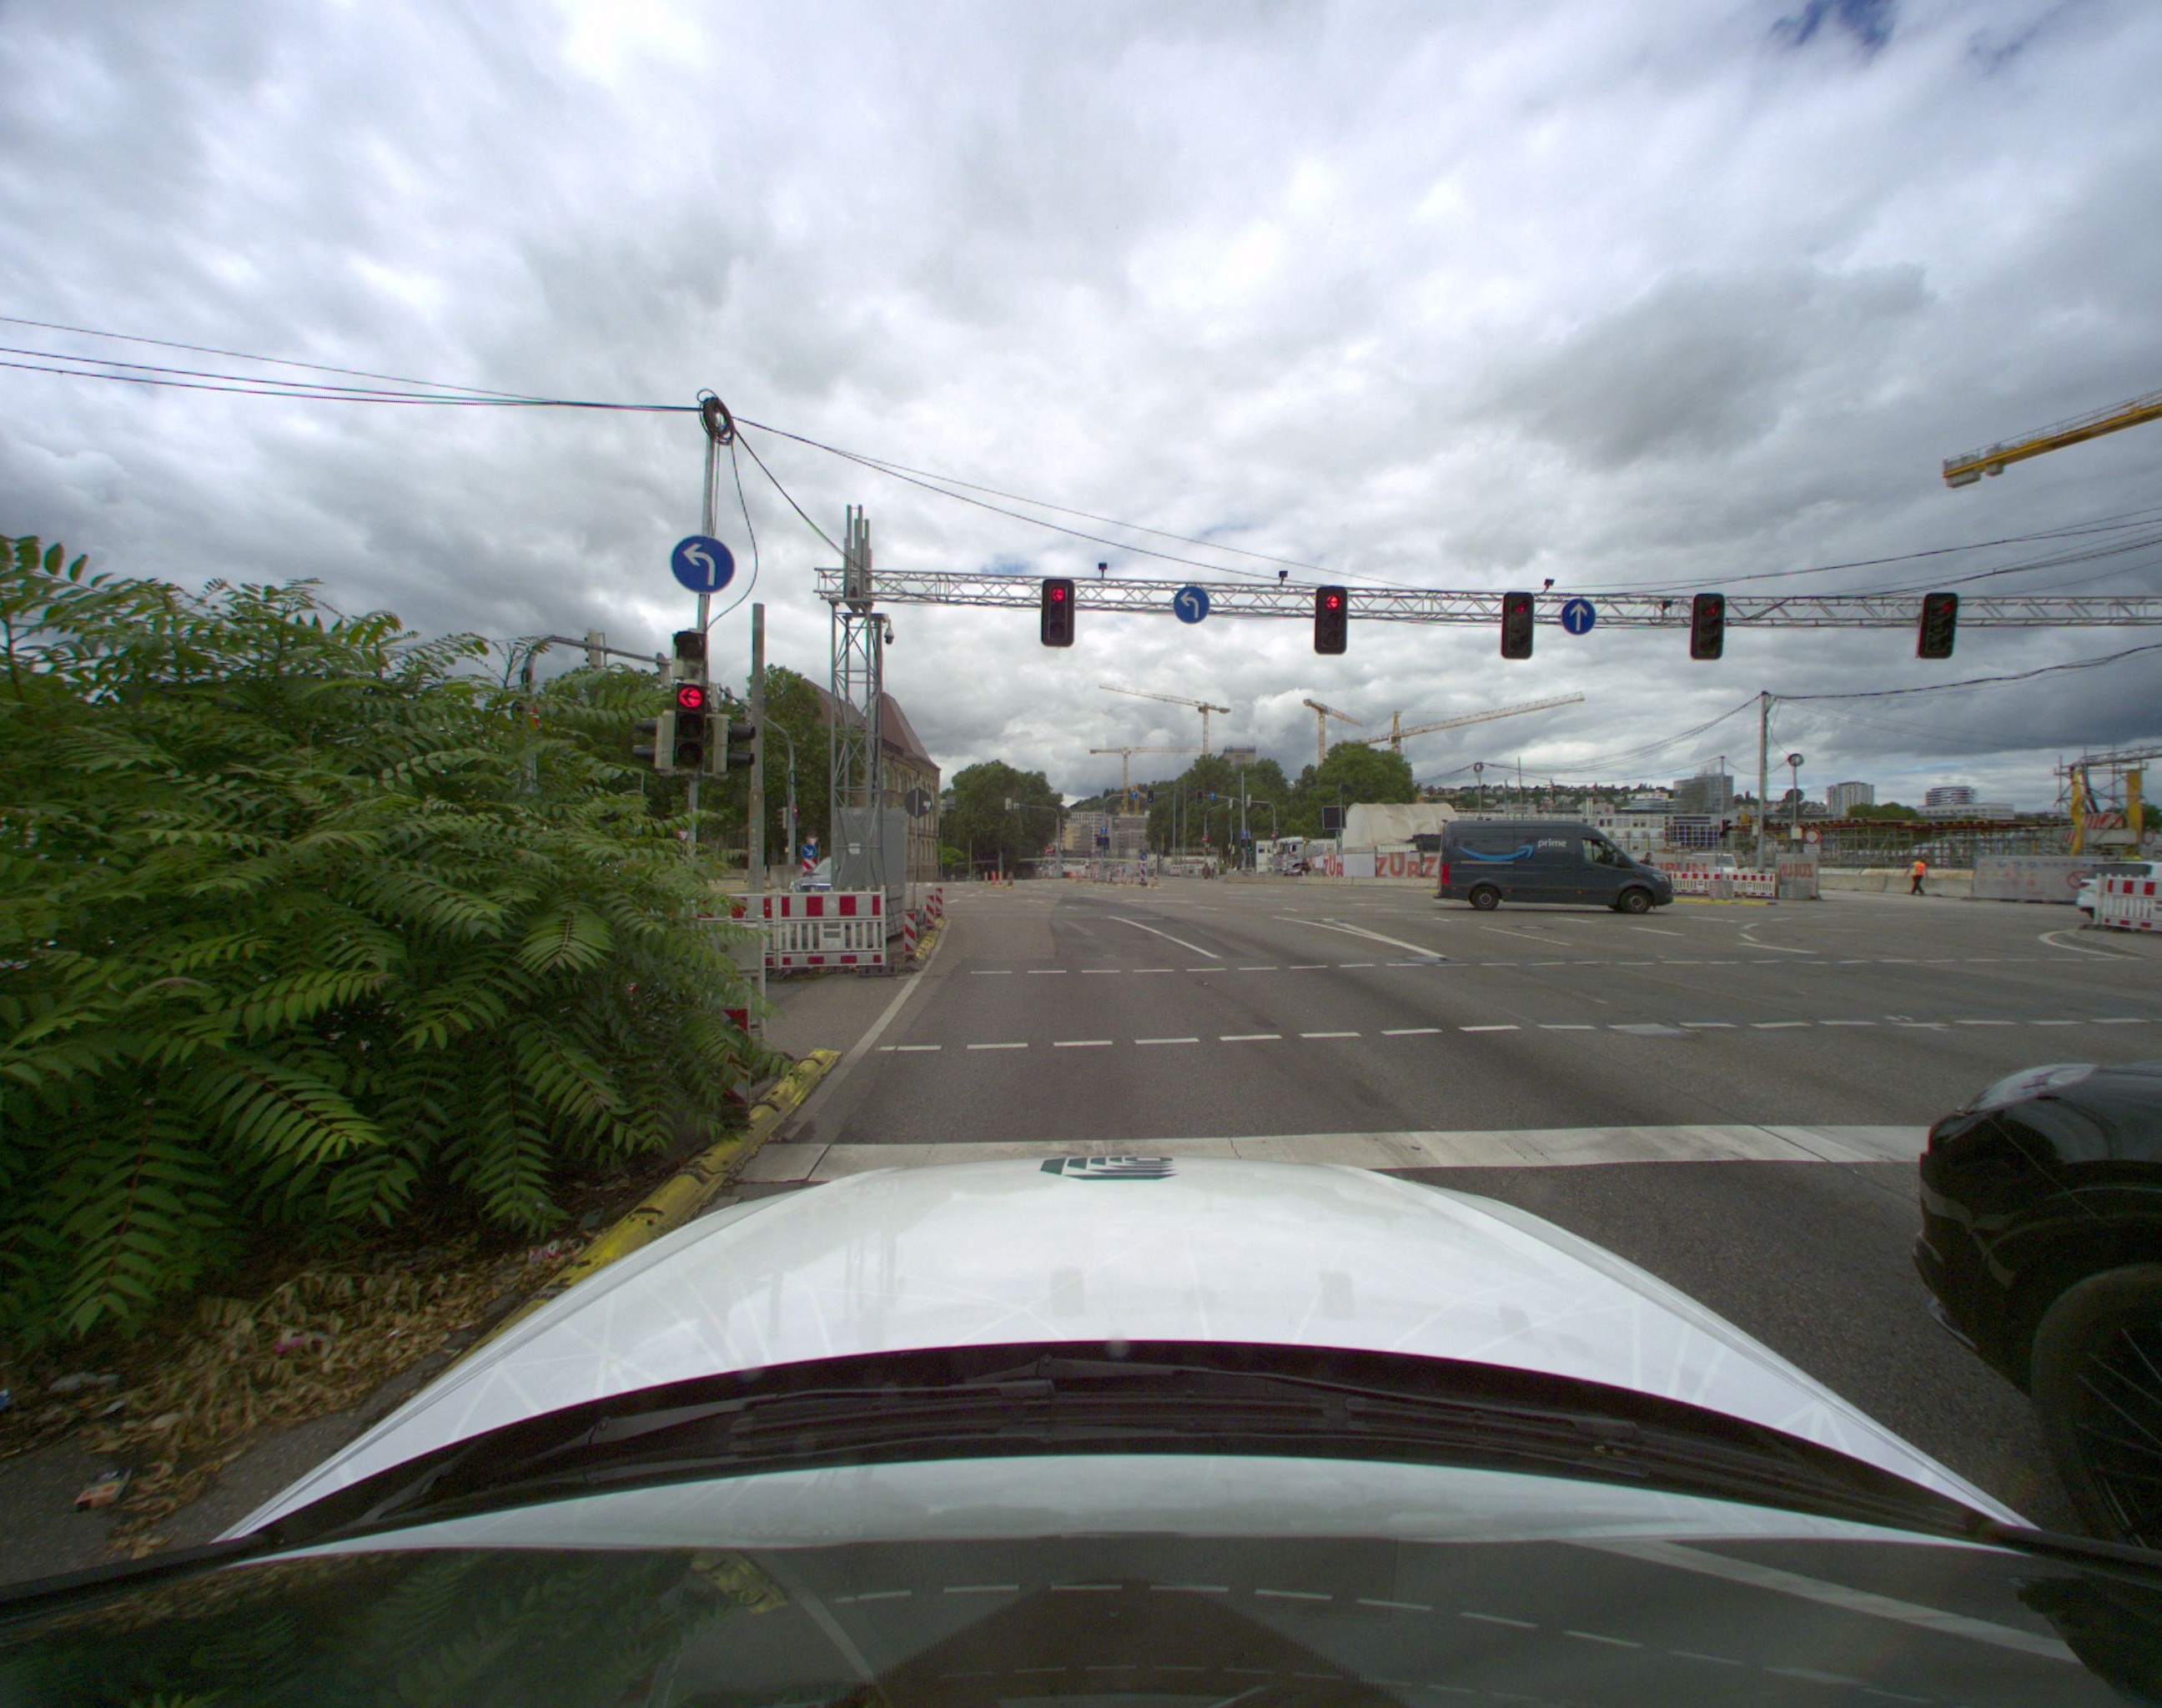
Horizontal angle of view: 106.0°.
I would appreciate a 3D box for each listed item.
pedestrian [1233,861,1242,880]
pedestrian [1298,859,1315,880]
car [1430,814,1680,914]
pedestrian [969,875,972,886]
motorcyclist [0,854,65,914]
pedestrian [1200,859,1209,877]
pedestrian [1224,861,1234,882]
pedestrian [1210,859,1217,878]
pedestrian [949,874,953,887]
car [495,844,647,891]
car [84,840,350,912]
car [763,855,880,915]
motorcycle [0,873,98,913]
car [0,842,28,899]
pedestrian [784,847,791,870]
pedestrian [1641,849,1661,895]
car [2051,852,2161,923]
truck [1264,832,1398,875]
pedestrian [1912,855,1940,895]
[{"bbox_3d":[14.594,1.543,76.066,0.615,1.689,0.716,0,0,31],"label":"pedestrian"},{"bbox_3d":[15.128,1.059,54.659,0.797,1.378,0.901,0,0,-14],"label":"pedestrian"},{"bbox_3d":[13.159,0.249,23.155,5.941,2.594,2.075,0,0,23],"label":"car"},{"bbox_3d":[-21.565,5.208,159.198,0.522,2.014,0.567,0,0,2],"label":"pedestrian"},{"bbox_3d":[-25.670,0.713,19.790,0.963,1.423,0.745,0,0,-4],"label":"motorcyclist"},{"bbox_3d":[11.392,1.278,74.953,0.726,1.689,0.678,0,0,1],"label":"pedestrian"},{"bbox_3d":[12.252,1.454,67.392,0.726,1.689,0.678,0,0,1],"label":"pedestrian"},{"bbox_3d":[12.174,1.344,74.942,0.564,1.689,0.472,0,0,1],"label":"pedestrian"},{"bbox_3d":[-21.740,4.421,136.164,0.522,2.014,0.567,0,0,2],"label":"pedestrian"},{"bbox_3d":[-18.819,0.495,30.246,4.315,1.676,1.992,0,0,-12],"label":"car"},{"bbox_3d":[-21.296,0.520,20.250,4.302,1.676,1.998,0,0,-3],"label":"car"},{"bbox_3d":[-6.934,0.762,22.287,1.695,1.471,4.629,0,0,0],"label":"car"},{"bbox_3d":[-25.472,0.933,19.808,2.051,0.924,0.756,0,0,-4],"label":"motorcycle"},{"bbox_3d":[-33.935,0.488,23.494,4.302,1.676,1.998,0,0,-3],"label":"car"},{"bbox_3d":[-26.721,0.412,74.109,0.530,2.014,0.423,1,-1,-42],"label":"pedestrian"},{"bbox_3d":[24.900,0.779,35.591,0.645,2.013,0.520,0,0,27],"label":"pedestrian"},{"bbox_3d":[28.255,0.833,20.866,4.410,1.736,1.886,0,0,3],"label":"car"},{"bbox_3d":[25.036,-0.034,81.587,13.062,4.041,3.926,0,0,-18],"label":"truck"},{"bbox_3d":[38.467,0.935,37.085,0.651,1.795,0.617,0,0,-7],"label":"pedestrian"}]
